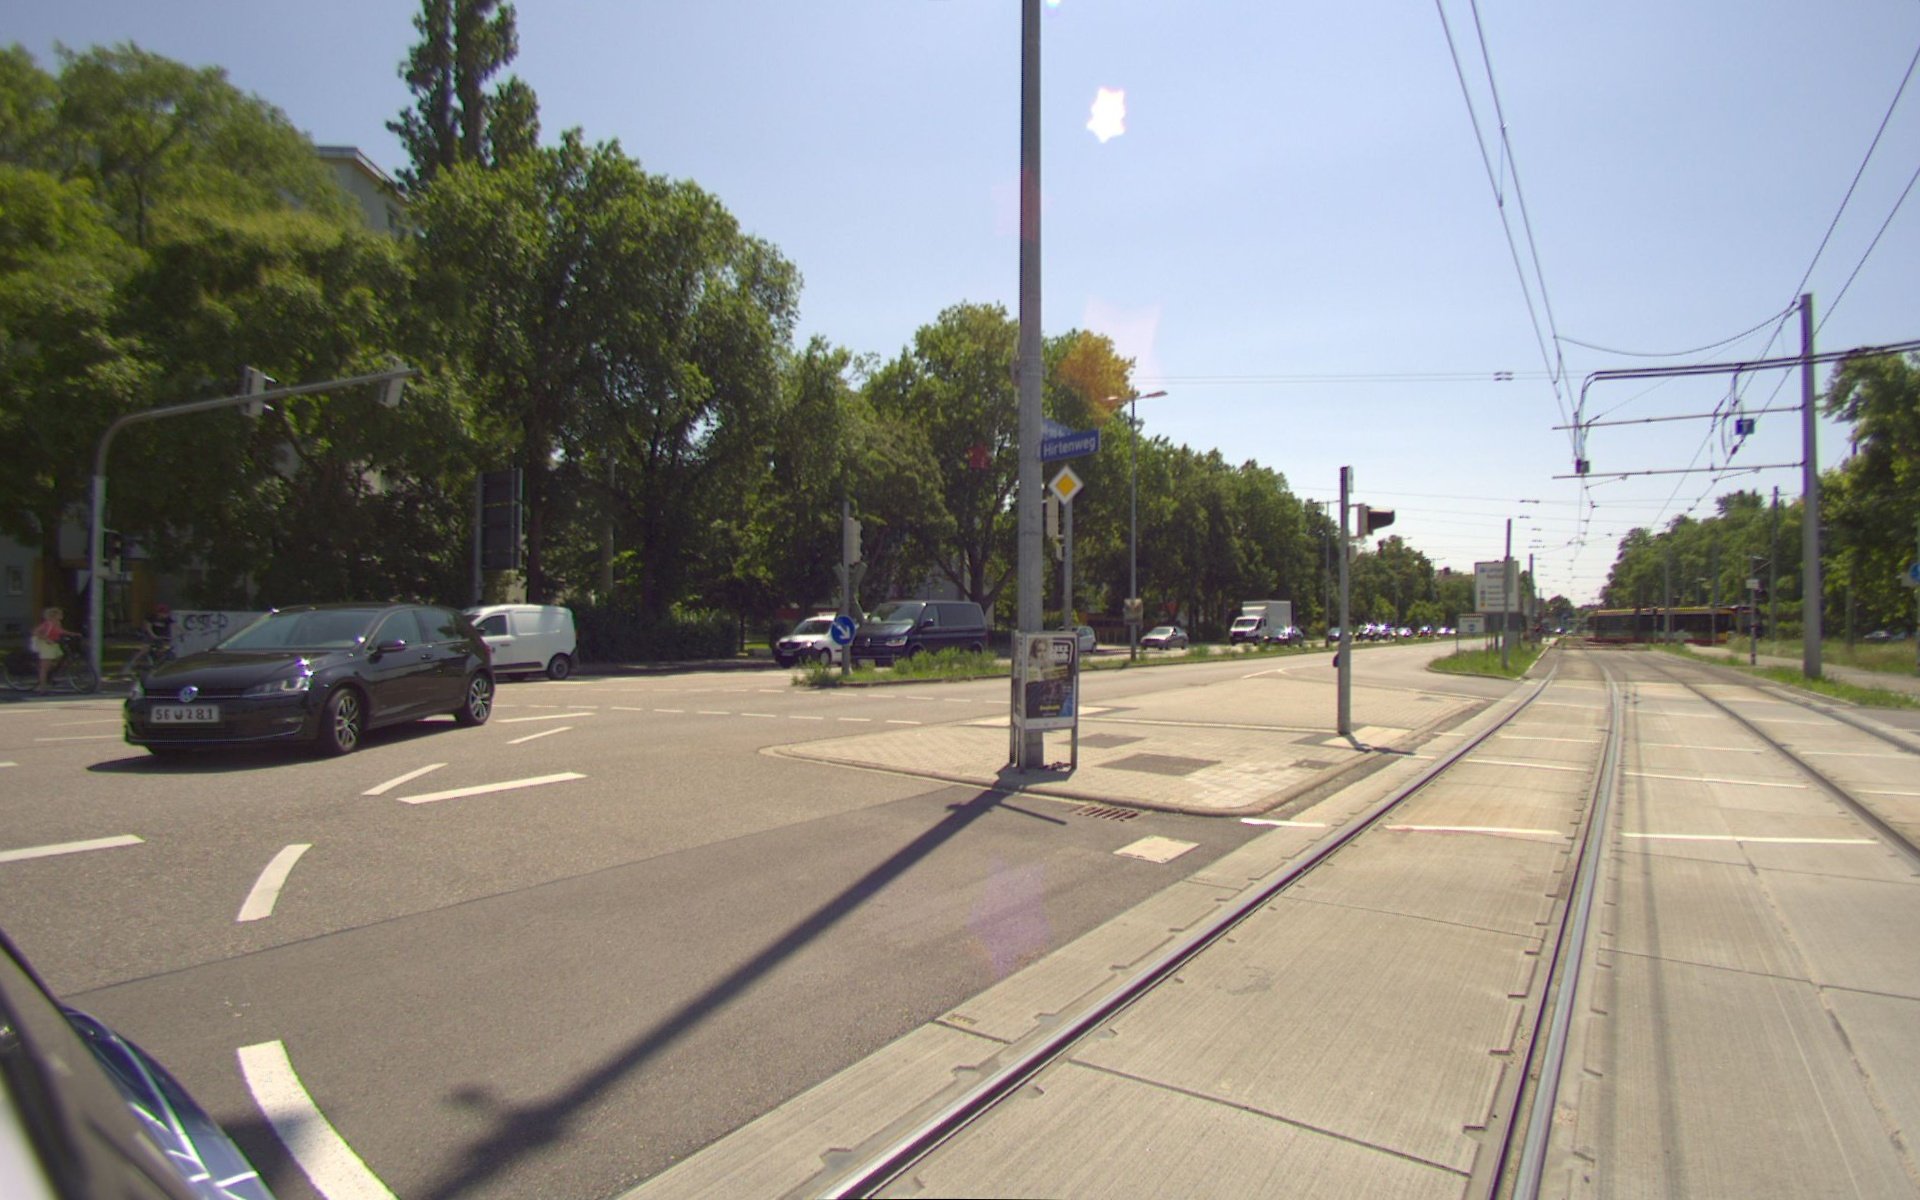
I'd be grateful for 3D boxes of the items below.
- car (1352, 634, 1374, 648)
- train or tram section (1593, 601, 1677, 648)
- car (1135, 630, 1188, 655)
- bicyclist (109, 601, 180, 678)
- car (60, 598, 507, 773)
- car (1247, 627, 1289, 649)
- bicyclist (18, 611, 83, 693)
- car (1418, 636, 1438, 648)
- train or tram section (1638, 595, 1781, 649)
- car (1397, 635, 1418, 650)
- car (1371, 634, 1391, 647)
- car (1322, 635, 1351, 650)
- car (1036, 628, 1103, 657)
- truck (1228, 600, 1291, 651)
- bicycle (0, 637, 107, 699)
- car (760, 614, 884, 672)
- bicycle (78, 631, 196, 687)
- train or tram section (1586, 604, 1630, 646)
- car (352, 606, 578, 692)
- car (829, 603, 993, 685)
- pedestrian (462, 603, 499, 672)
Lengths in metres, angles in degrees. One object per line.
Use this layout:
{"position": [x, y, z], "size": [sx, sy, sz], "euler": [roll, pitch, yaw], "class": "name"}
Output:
{"position": [41.403, 4.216, 103.904], "size": [1.598, 1.296, 3.609], "euler": [-3, -3, 29], "class": "car"}
{"position": [65.462, 2.546, 98.534], "size": [3.000, 4.287, 12.679], "euler": [-1, -3, 17], "class": "train or tram section"}
{"position": [12.451, 2.602, 62.332], "size": [1.843, 1.436, 4.169], "euler": [-2, -2, 31], "class": "car"}
{"position": [-17.010, 0.819, 21.121], "size": [0.894, 1.556, 0.649], "euler": [3, -1, -14], "class": "bicyclist"}
{"position": [-6.441, 0.758, 10.293], "size": [1.687, 1.415, 4.049], "euler": [0, -2, 3], "class": "car"}
{"position": [19.819, 2.413, 65.081], "size": [1.739, 1.296, 3.960], "euler": [-3, -3, 29], "class": "car"}
{"position": [-17.109, 0.967, 19.050], "size": [0.619, 1.479, 0.618], "euler": [3, -1, -14], "class": "bicyclist"}
{"position": [70.854, 6.377, 153.081], "size": [1.995, 1.745, 3.952], "euler": [-4, -3, 35], "class": "car"}
{"position": [63.575, 2.035, 86.467], "size": [2.986, 4.287, 12.738], "euler": [0, -3, 2], "class": "train or tram section"}
{"position": [58.408, 5.535, 132.068], "size": [1.993, 1.745, 3.956], "euler": [-4, -3, 32], "class": "car"}
{"position": [46.415, 4.458, 111.535], "size": [1.598, 1.296, 3.609], "euler": [-3, -3, 29], "class": "car"}
{"position": [34.680, 3.917, 93.218], "size": [1.878, 1.296, 3.960], "euler": [-3, -3, 29], "class": "car"}
{"position": [5.677, 2.154, 52.042], "size": [1.842, 1.436, 4.170], "euler": [-2, -2, 31], "class": "car"}
{"position": [22.717, 1.940, 76.536], "size": [2.579, 3.560, 7.630], "euler": [-3, -3, 31], "class": "truck"}
{"position": [-17.263, 1.277, 19.000], "size": [1.775, 1.071, 0.618], "euler": [3, -1, -14], "class": "bicycle"}
{"position": [-4.613, 1.449, 34.413], "size": [1.889, 1.807, 4.348], "euler": [-3, -3, 30], "class": "car"}
{"position": [-17.110, 1.231, 21.073], "size": [1.775, 1.071, 0.618], "euler": [3, -1, -14], "class": "bicycle"}
{"position": [70.154, 2.887, 109.796], "size": [3.013, 4.287, 12.623], "euler": [-2, -3, 29], "class": "train or tram section"}
{"position": [-10.969, 1.062, 22.734], "size": [1.804, 1.731, 4.297], "euler": [-2, -2, 31], "class": "car"}
{"position": [-1.175, 1.110, 26.751], "size": [1.937, 1.946, 4.792], "euler": [0, -1, 33], "class": "car"}
{"position": [-13.124, 1.029, 27.708], "size": [0.605, 1.849, 0.672], "euler": [0, -1, 29], "class": "pedestrian"}
